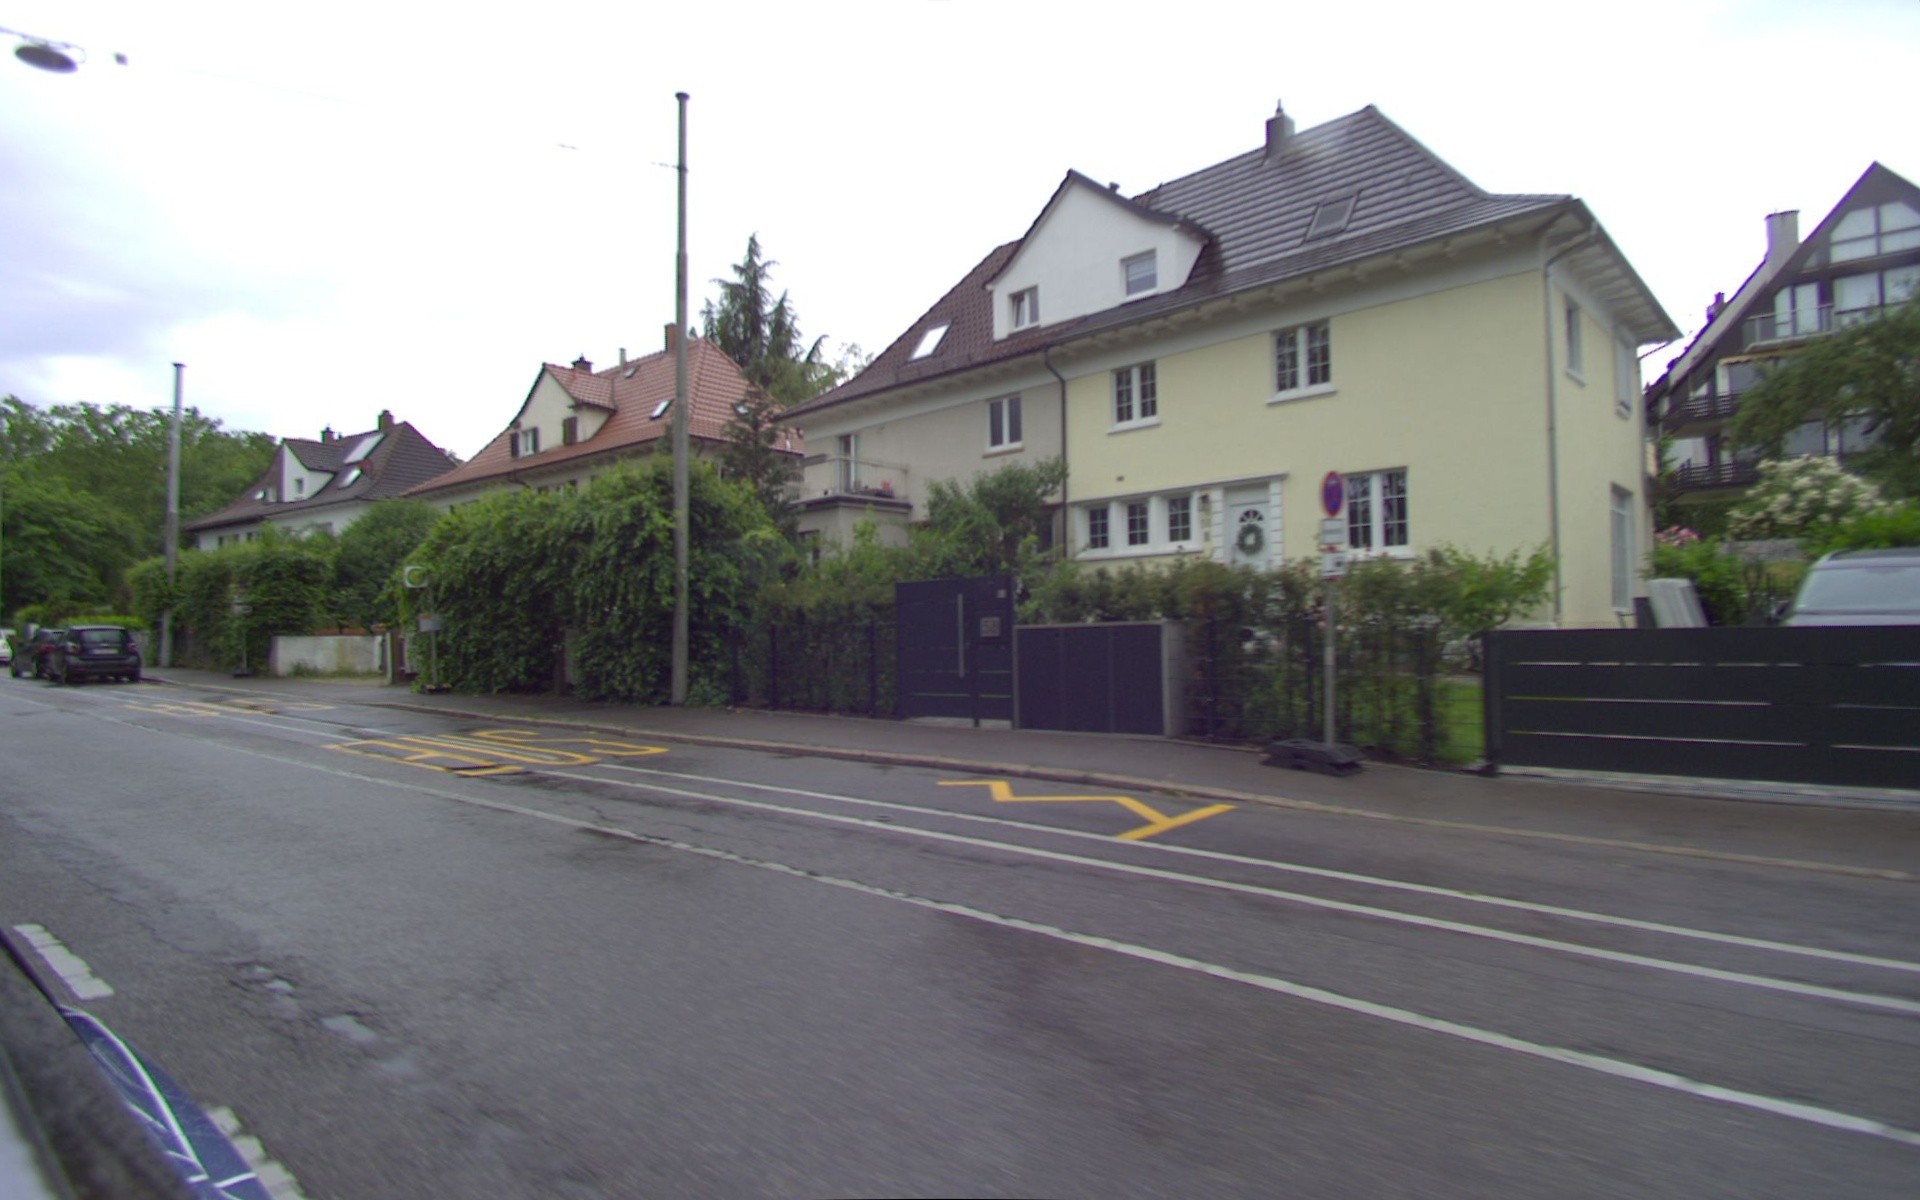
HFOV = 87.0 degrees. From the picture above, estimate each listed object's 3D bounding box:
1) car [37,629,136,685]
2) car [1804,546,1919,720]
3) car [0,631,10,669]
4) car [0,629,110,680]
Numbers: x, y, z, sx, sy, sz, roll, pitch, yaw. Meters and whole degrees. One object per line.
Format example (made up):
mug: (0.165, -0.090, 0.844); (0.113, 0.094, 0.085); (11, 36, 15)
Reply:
car: (-23.882, 1.542, 27.644); (3.026, 1.465, 1.504); (-2, -4, 39)
car: (10.193, 0.237, 10.837); (1.734, 1.608, 3.946); (0, 2, 41)
car: (-38.664, 1.957, 39.744); (3.710, 1.479, 1.680); (-1, -2, 43)
car: (-27.147, 1.625, 30.249); (4.207, 1.429, 1.672); (-2, -4, 36)
